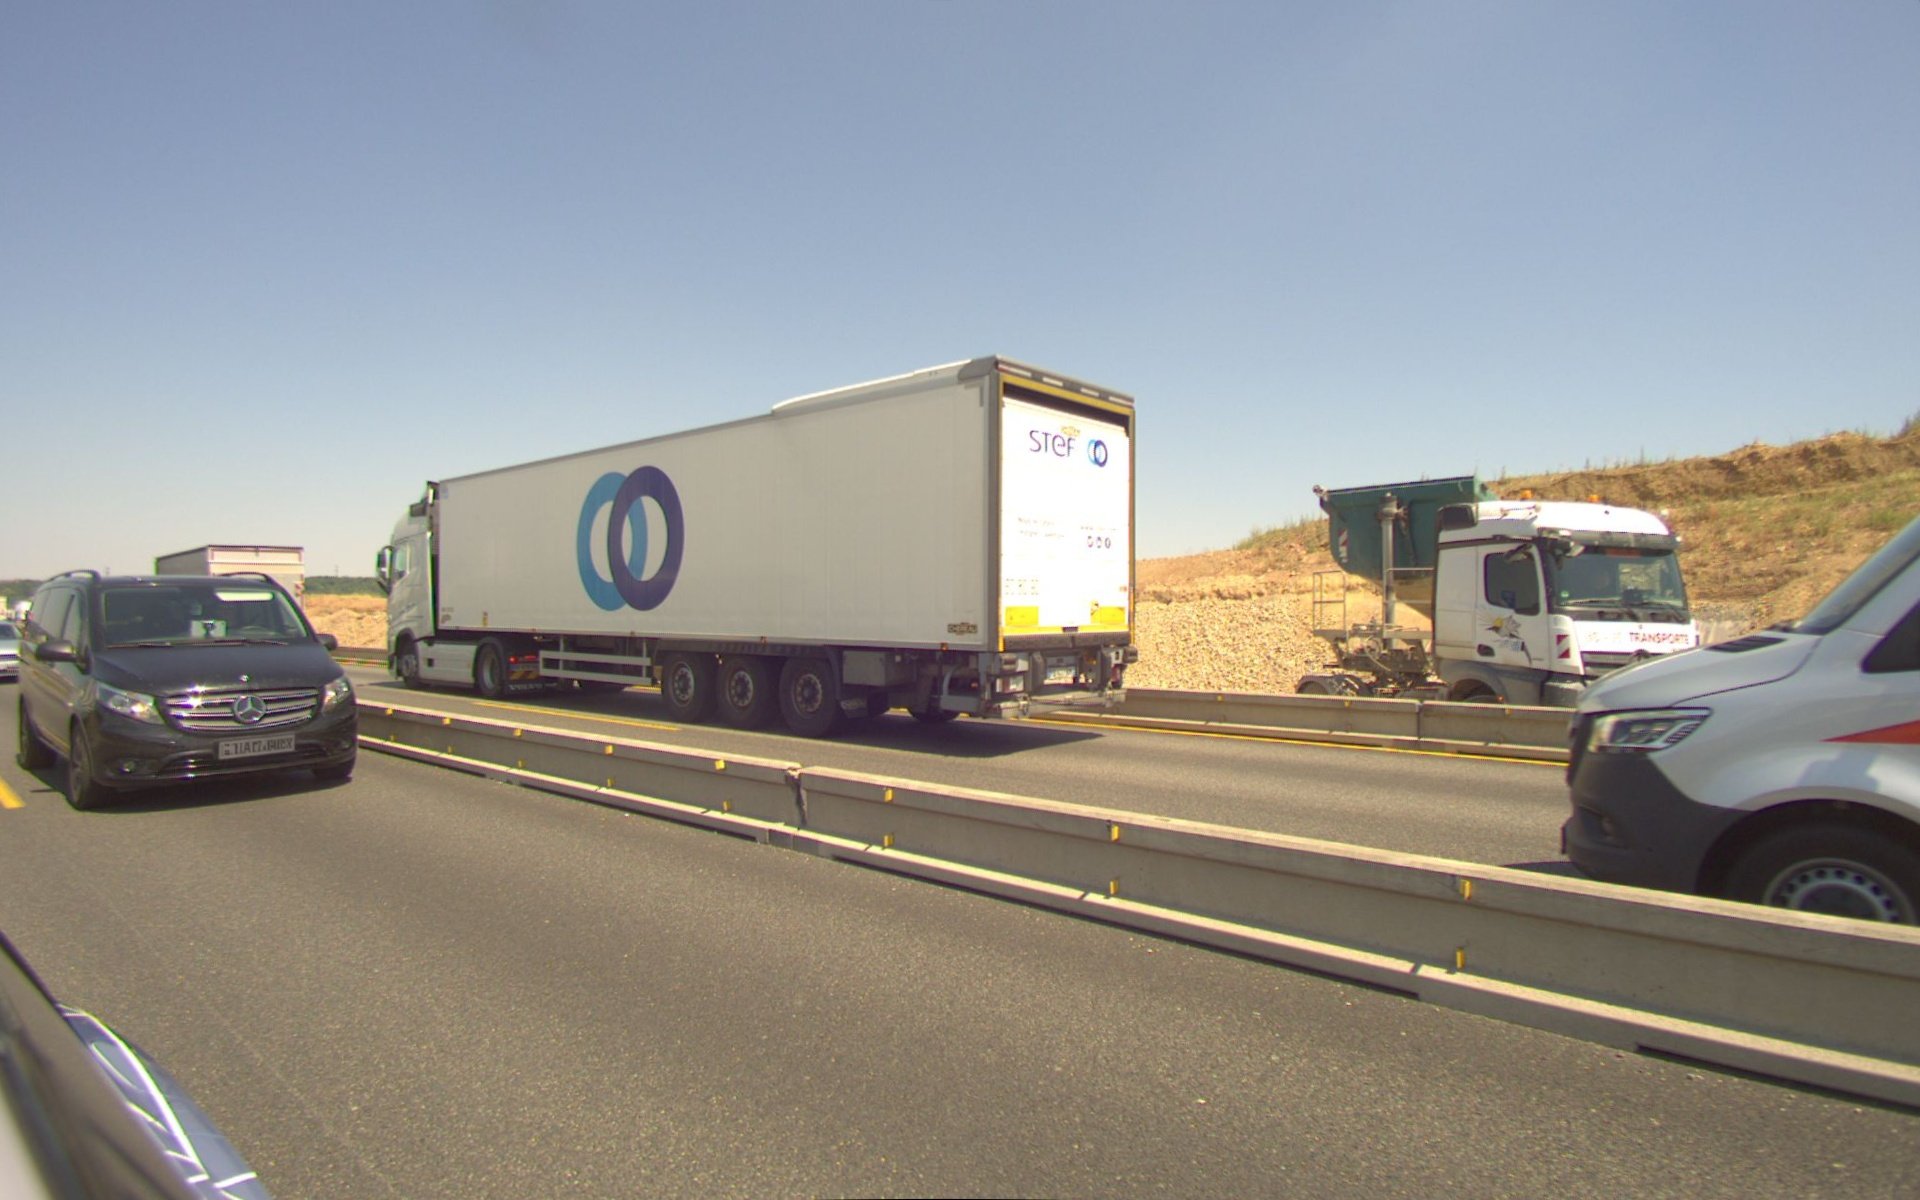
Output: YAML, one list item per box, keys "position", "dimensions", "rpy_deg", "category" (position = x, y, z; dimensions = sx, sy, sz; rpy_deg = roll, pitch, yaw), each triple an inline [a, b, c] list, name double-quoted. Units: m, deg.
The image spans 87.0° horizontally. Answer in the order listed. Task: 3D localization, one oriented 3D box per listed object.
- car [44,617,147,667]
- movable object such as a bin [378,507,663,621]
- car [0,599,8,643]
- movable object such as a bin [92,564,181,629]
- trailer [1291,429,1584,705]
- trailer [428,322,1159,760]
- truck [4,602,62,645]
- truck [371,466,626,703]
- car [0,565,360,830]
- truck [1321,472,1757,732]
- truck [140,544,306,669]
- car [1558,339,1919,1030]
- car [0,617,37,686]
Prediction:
- position: [-28.139, 1.315, 32.879]
  dimensions: [4.497, 1.453, 1.839]
  rpy_deg: [-1, 0, 40]
  category: "car"
- position: [-29.024, -2.245, 68.706]
  dimensions: [3.387, 6.823, 18.031]
  rpy_deg: [-1, 0, 41]
  category: "movable object such as a bin"
- position: [-85.519, 1.874, 88.285]
  dimensions: [8.087, 3.769, 2.878]
  rpy_deg: [-2, -1, 42]
  category: "car"
- position: [-94.154, -0.392, 115.743]
  dimensions: [4.080, 7.167, 7.283]
  rpy_deg: [-1, 0, 41]
  category: "movable object such as a bin"
- position: [9.341, -0.518, 19.138]
  dimensions: [2.799, 4.129, 8.255]
  rpy_deg: [-1, 0, 41]
  category: "trailer"
- position: [-3.728, -0.474, 15.128]
  dimensions: [13.647, 4.125, 2.824]
  rpy_deg: [-1, -2, 42]
  category: "trailer"
- position: [-60.713, 1.544, 66.242]
  dimensions: [6.350, 2.589, 2.076]
  rpy_deg: [-3, -1, 41]
  category: "truck"
- position: [-9.160, -0.216, 19.964]
  dimensions: [4.857, 4.049, 2.819]
  rpy_deg: [-1, -2, 41]
  category: "truck"
- position: [-7.703, 0.734, 9.638]
  dimensions: [5.477, 1.865, 1.854]
  rpy_deg: [-2, -1, 42]
  category: "car"
- position: [7.754, 0.015, 14.375]
  dimensions: [2.544, 2.986, 5.075]
  rpy_deg: [-1, 0, -13]
  category: "truck"
- position: [-25.266, 0.232, 34.453]
  dimensions: [9.479, 3.744, 2.617]
  rpy_deg: [-1, 0, 42]
  category: "truck"
- position: [5.066, 0.260, 3.064]
  dimensions: [5.340, 2.309, 1.973]
  rpy_deg: [-1, 0, 41]
  category: "car"
- position: [-23.071, 1.213, 23.657]
  dimensions: [4.098, 1.519, 1.781]
  rpy_deg: [-2, -1, 41]
  category: "car"
